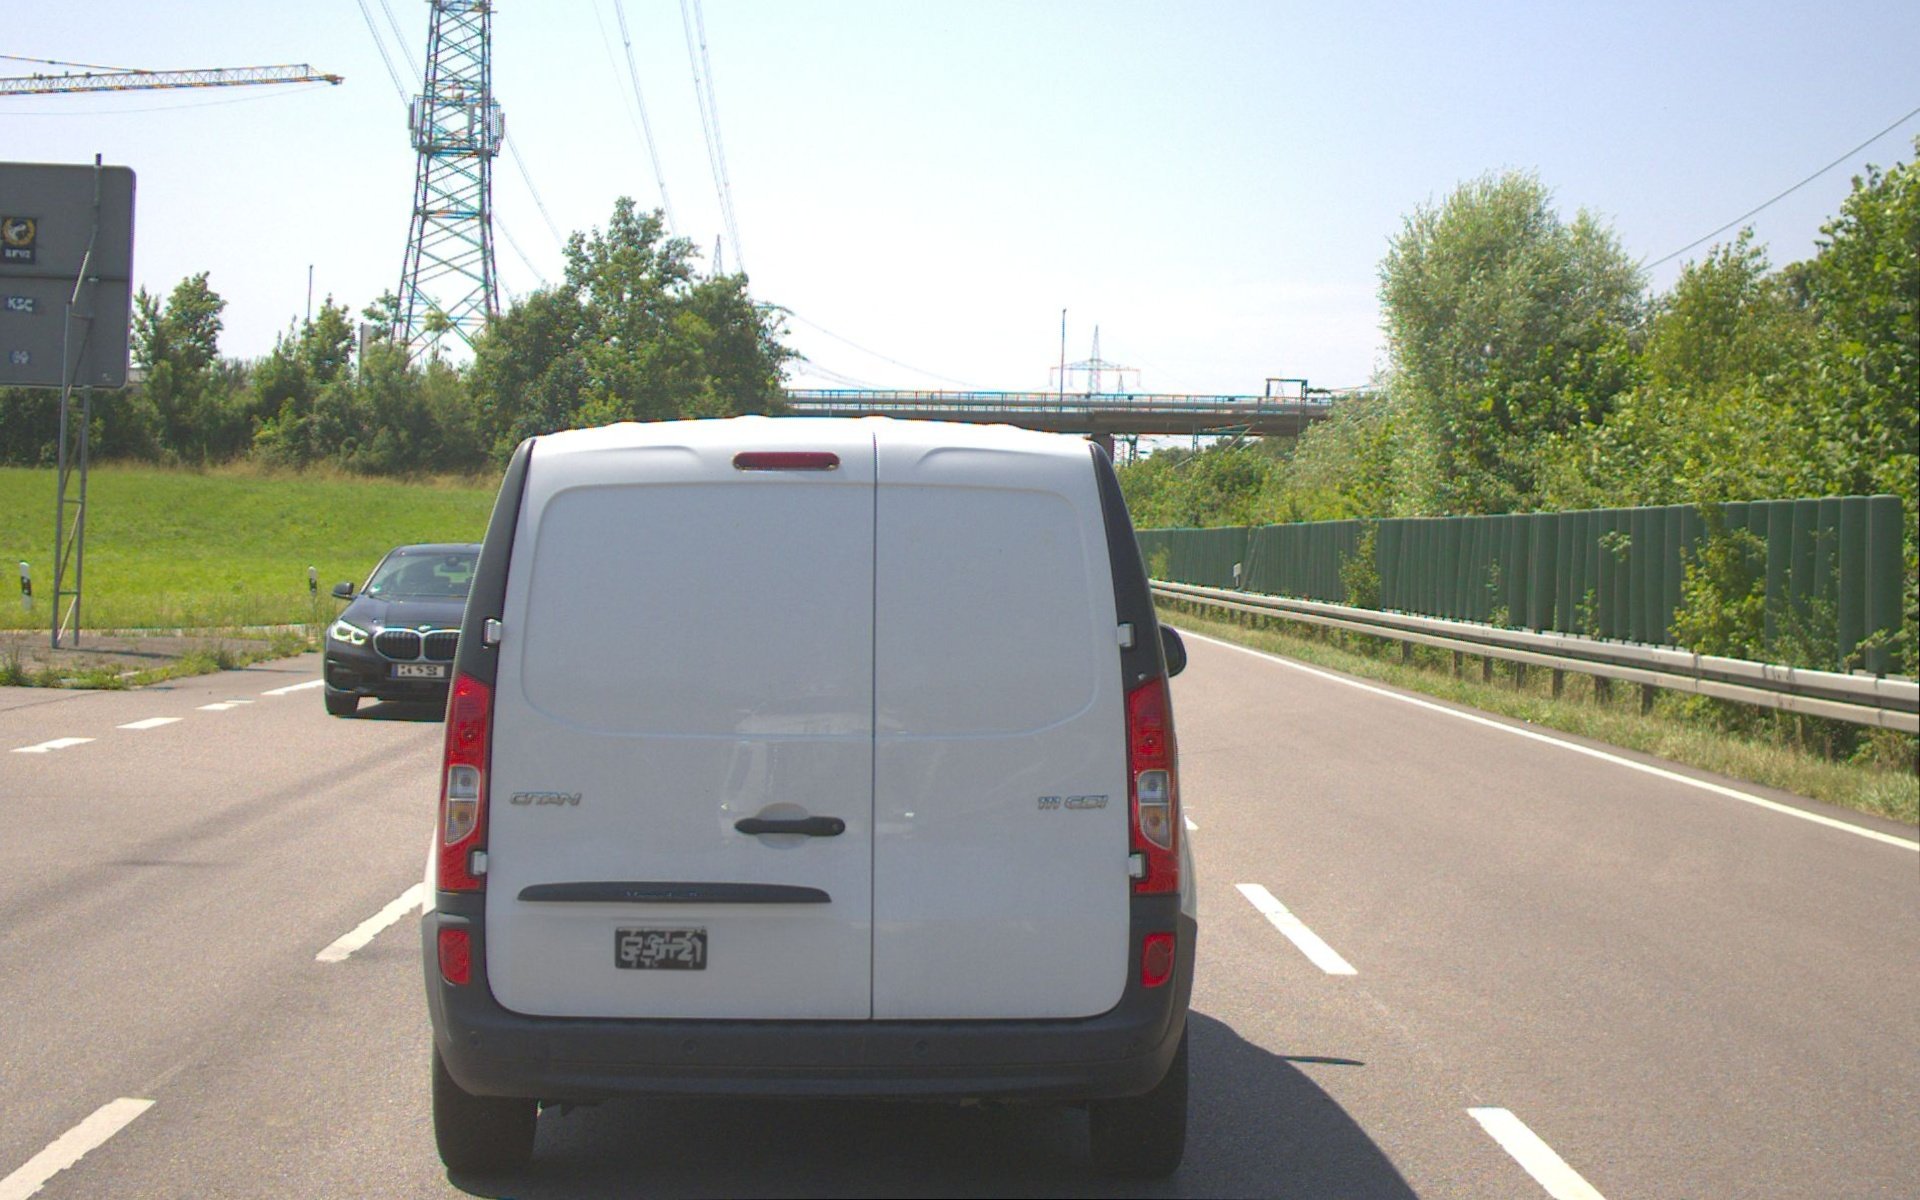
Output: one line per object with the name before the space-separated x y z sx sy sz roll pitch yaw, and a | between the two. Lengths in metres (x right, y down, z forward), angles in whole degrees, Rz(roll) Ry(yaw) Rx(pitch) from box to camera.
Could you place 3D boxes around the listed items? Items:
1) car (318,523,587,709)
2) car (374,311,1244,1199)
car | -4.339 0.096 29.939 1.782 1.459 4.000 2 1 -1
car | -0.363 0.341 9.315 1.827 1.964 4.000 1 1 -1
